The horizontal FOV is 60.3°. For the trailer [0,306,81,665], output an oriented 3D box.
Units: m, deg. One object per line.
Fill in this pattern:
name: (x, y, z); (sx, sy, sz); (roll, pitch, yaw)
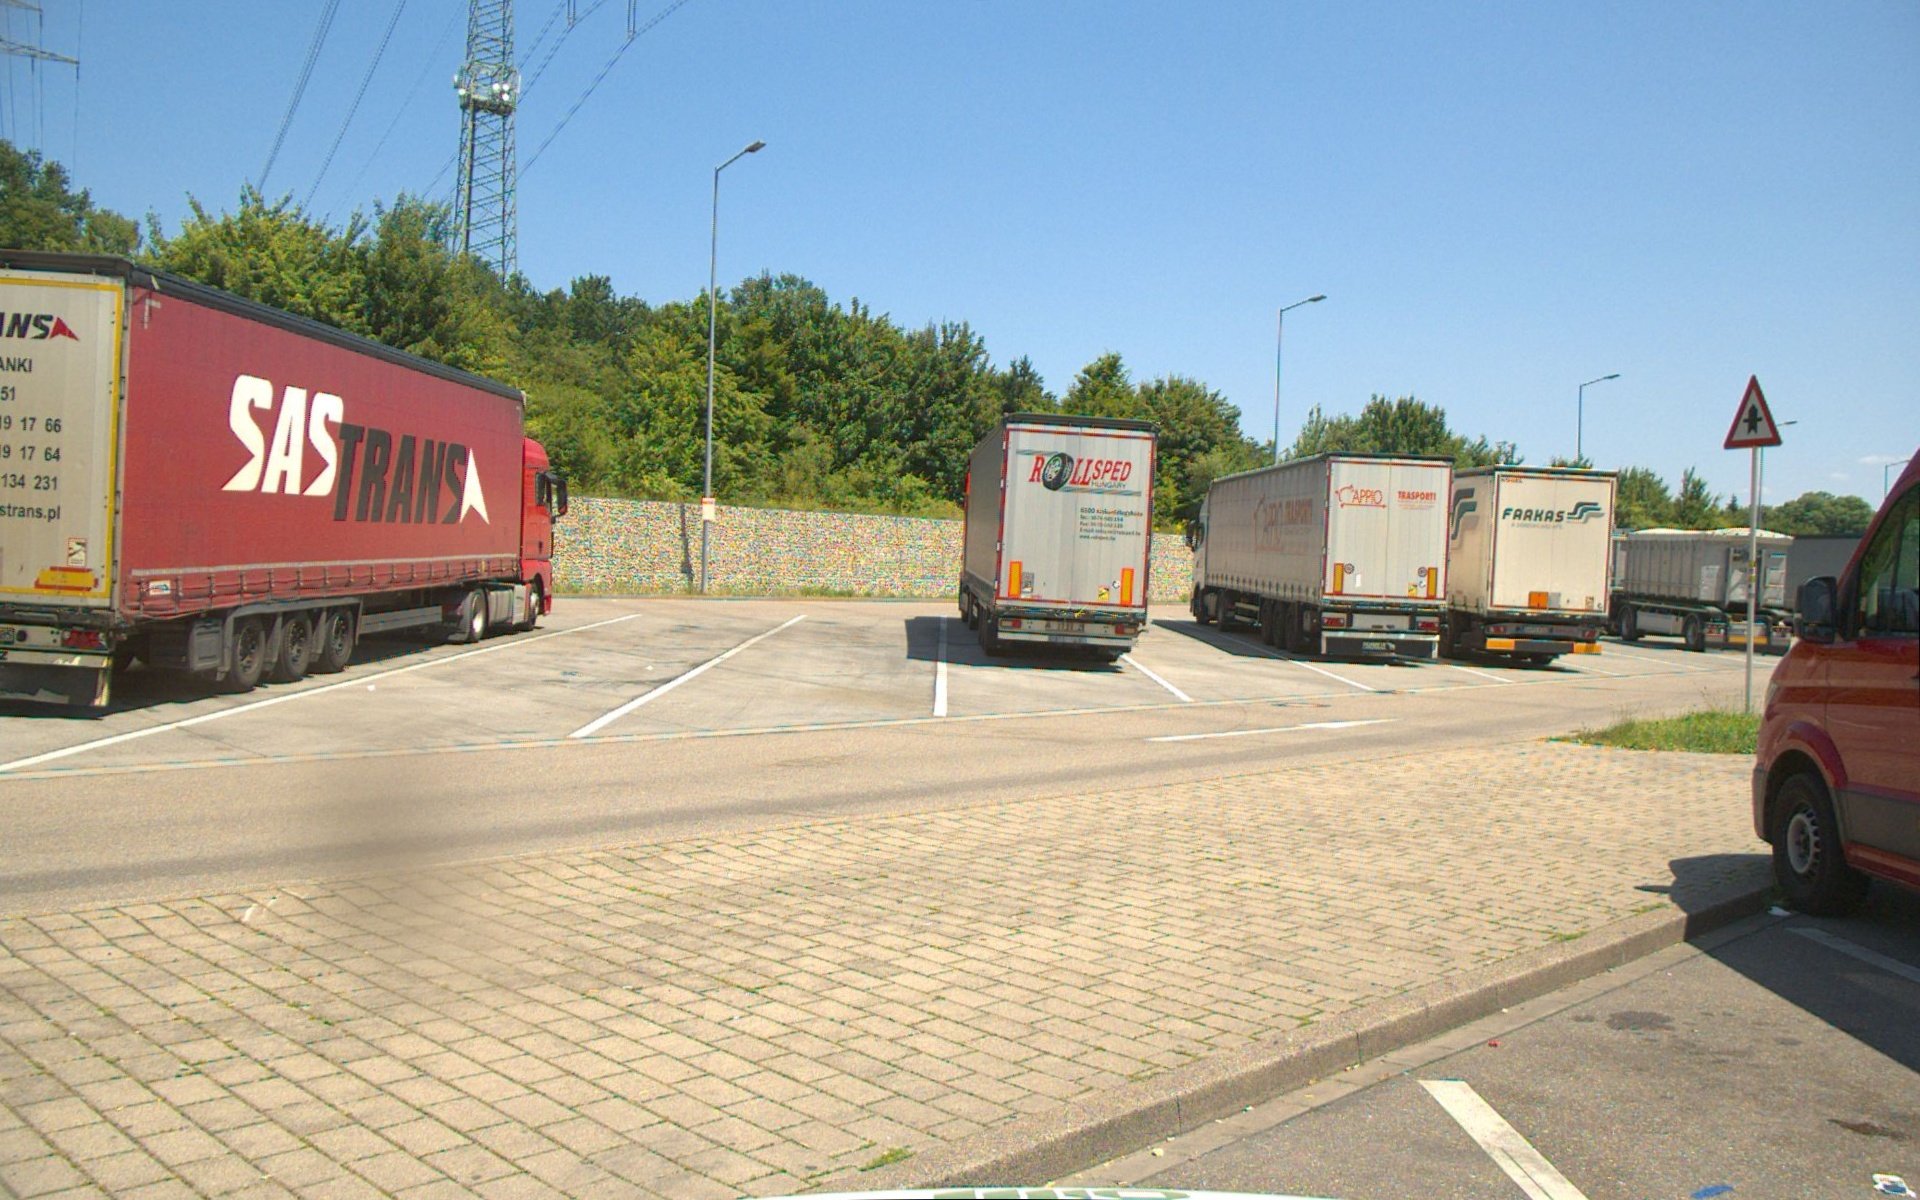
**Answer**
trailer: (-12.492, -1.253, 15.794); (2.651, 4.173, 10.389); (2, 2, -1)

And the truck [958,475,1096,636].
truck: (1.470, -1.090, 39.345); (2.808, 3.421, 5.974); (2, 2, -1)

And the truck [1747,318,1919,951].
truck: (4.990, 0.159, 5.517); (1.969, 2.697, 6.457); (1, 0, 3)

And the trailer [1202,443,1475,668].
trailer: (8.245, -1.102, 38.502); (2.800, 4.180, 13.762); (2, 2, -1)

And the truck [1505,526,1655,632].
truck: (21.732, -0.799, 58.341); (2.808, 3.421, 5.974); (2, 2, -1)

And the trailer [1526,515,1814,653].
trailer: (21.831, -0.685, 52.246); (2.800, 3.662, 13.762); (2, 2, -1)

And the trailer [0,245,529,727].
trailer: (-8.695, -1.266, 21.250); (2.764, 4.141, 13.763); (2, 2, -1)

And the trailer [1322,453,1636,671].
trailer: (11.764, -0.992, 39.566); (2.800, 4.180, 13.762); (2, 2, -1)

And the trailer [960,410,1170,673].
trailer: (1.671, -1.174, 33.148); (2.800, 4.040, 13.761); (2, 2, -2)

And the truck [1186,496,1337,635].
truck: (8.122, -0.985, 45.264); (2.808, 3.421, 5.974); (2, 2, -1)

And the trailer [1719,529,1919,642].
trailer: (34.783, -0.717, 65.445); (2.800, 3.972, 13.762); (2, 2, -1)

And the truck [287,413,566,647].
truck: (-8.804, -1.158, 28.066); (2.755, 3.421, 5.974); (2, 2, -1)
